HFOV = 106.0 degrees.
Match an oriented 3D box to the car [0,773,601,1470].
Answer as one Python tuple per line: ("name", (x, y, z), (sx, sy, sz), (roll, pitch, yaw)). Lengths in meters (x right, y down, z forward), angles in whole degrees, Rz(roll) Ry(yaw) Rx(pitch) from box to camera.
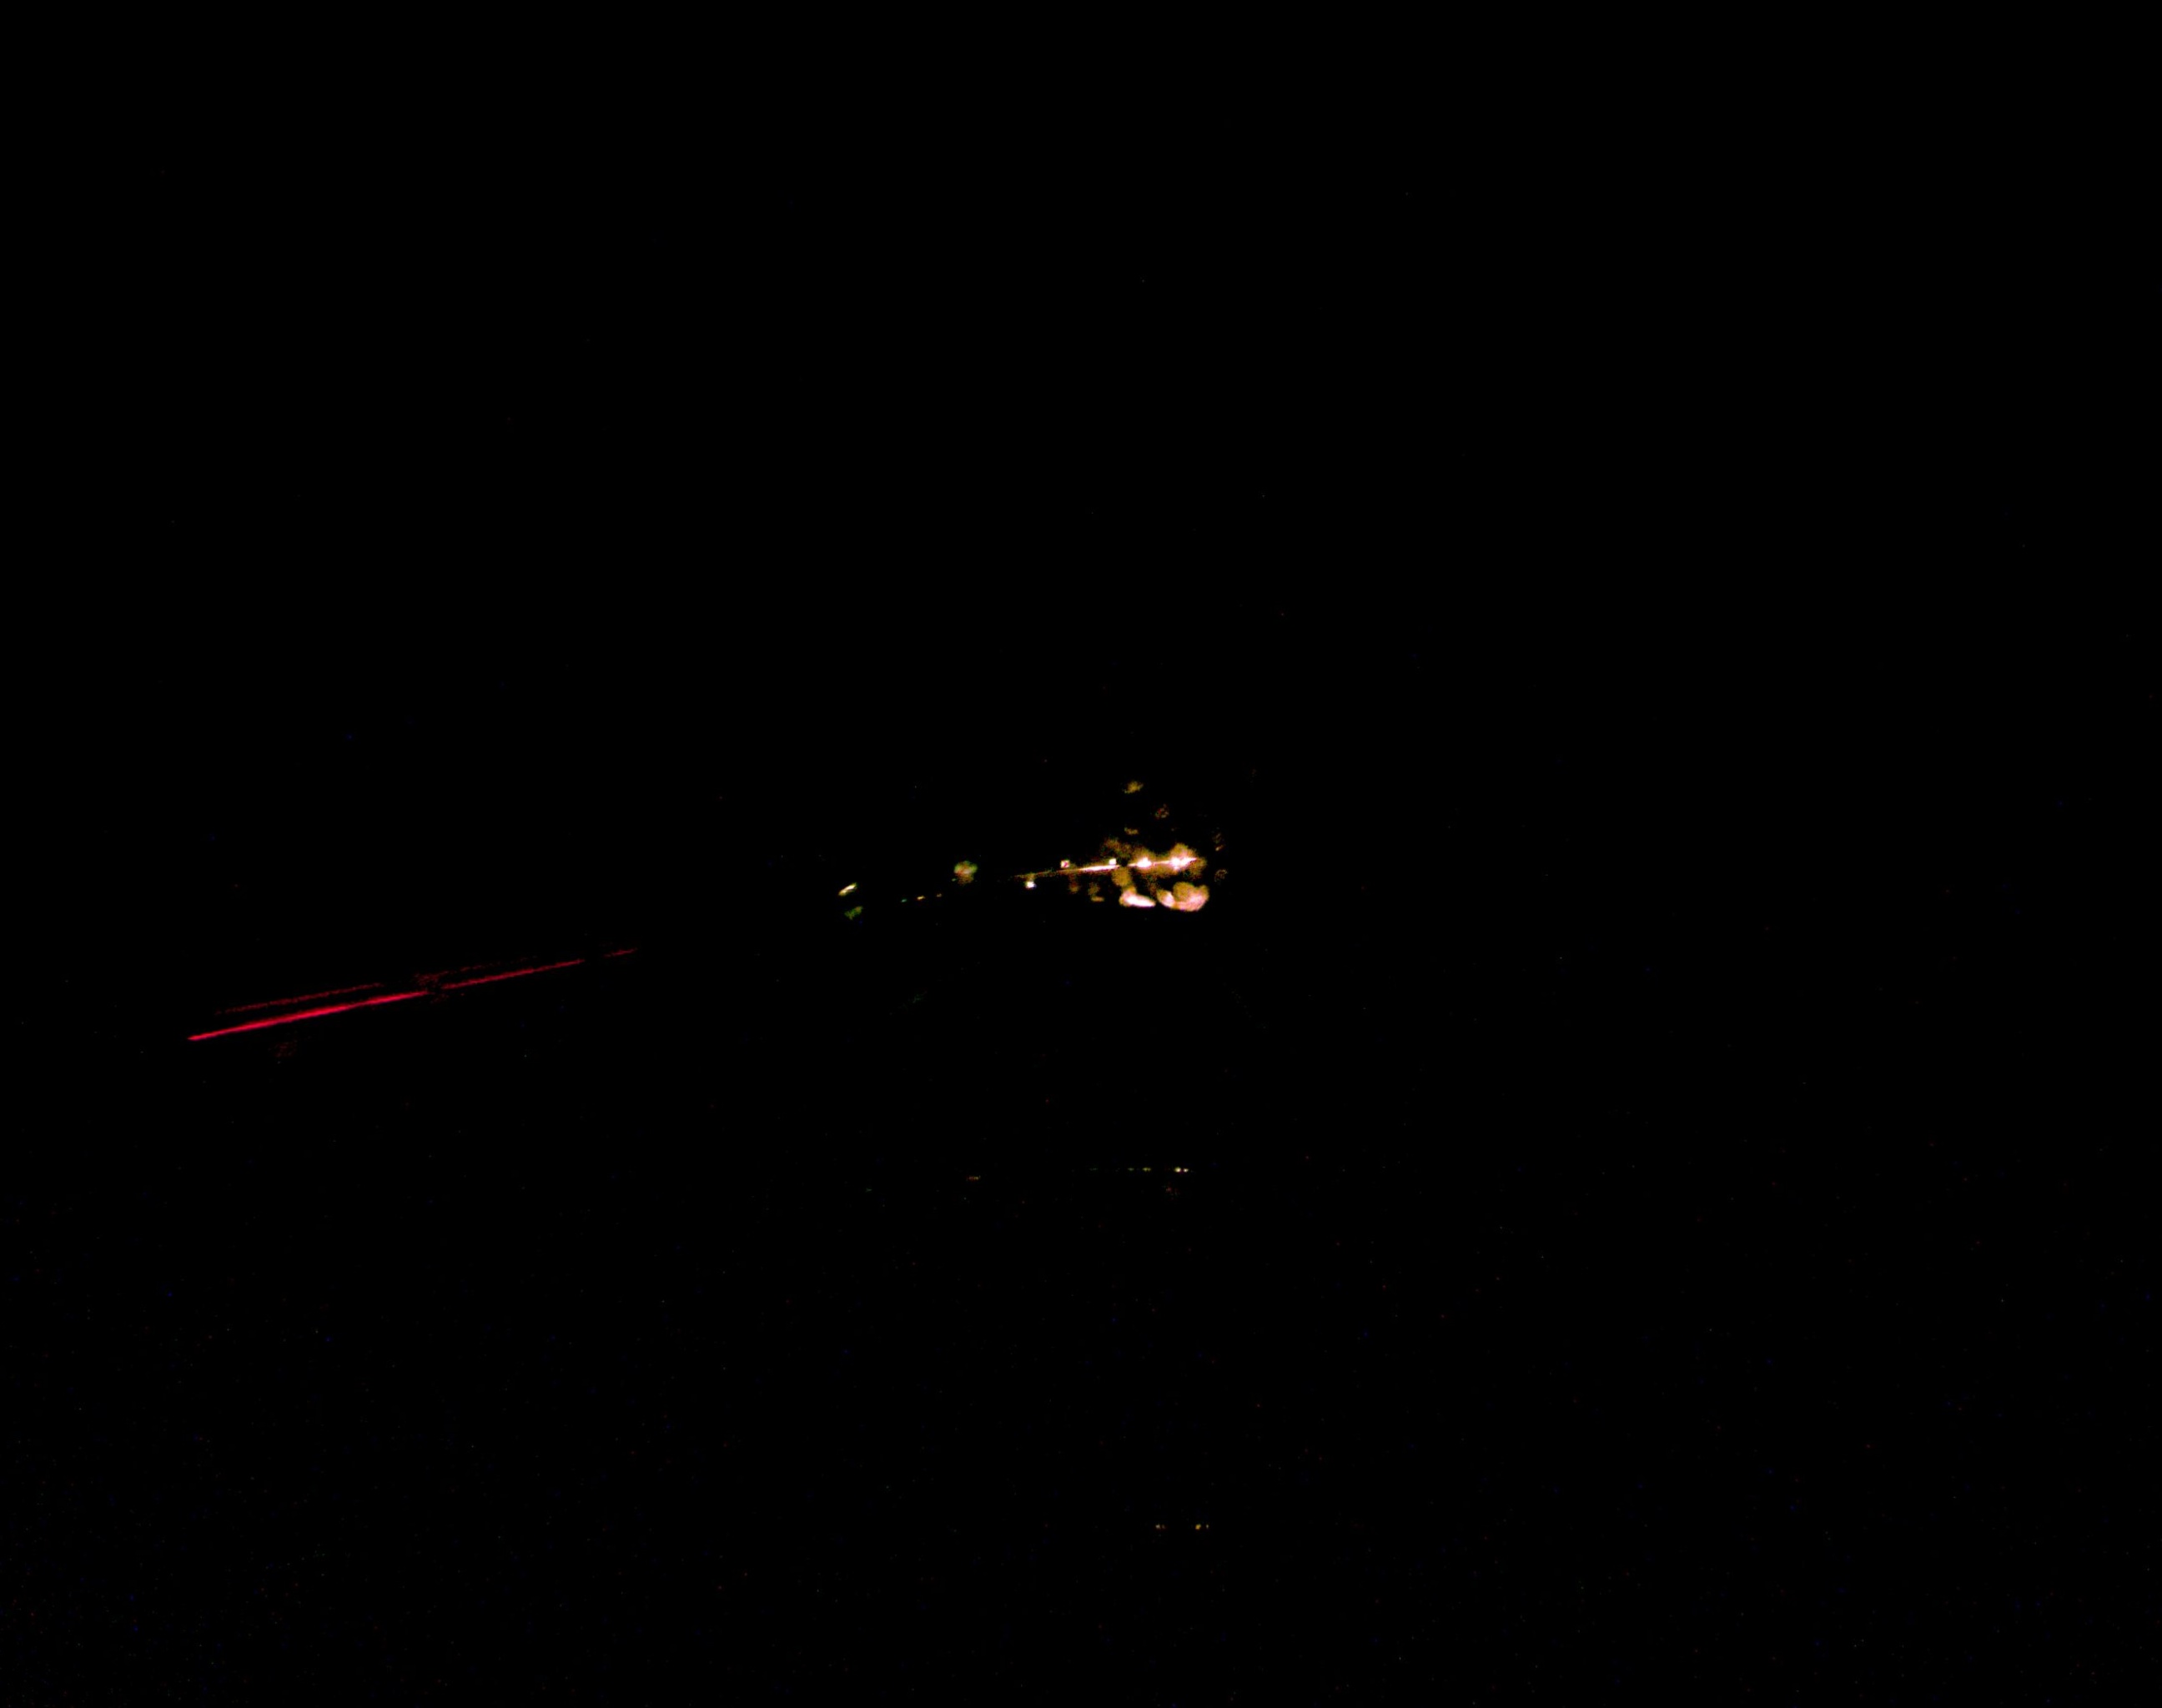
("car", (-3.630, 0.671, 2.012), (1.986, 1.693, 4.699), (-1, -1, 1))
